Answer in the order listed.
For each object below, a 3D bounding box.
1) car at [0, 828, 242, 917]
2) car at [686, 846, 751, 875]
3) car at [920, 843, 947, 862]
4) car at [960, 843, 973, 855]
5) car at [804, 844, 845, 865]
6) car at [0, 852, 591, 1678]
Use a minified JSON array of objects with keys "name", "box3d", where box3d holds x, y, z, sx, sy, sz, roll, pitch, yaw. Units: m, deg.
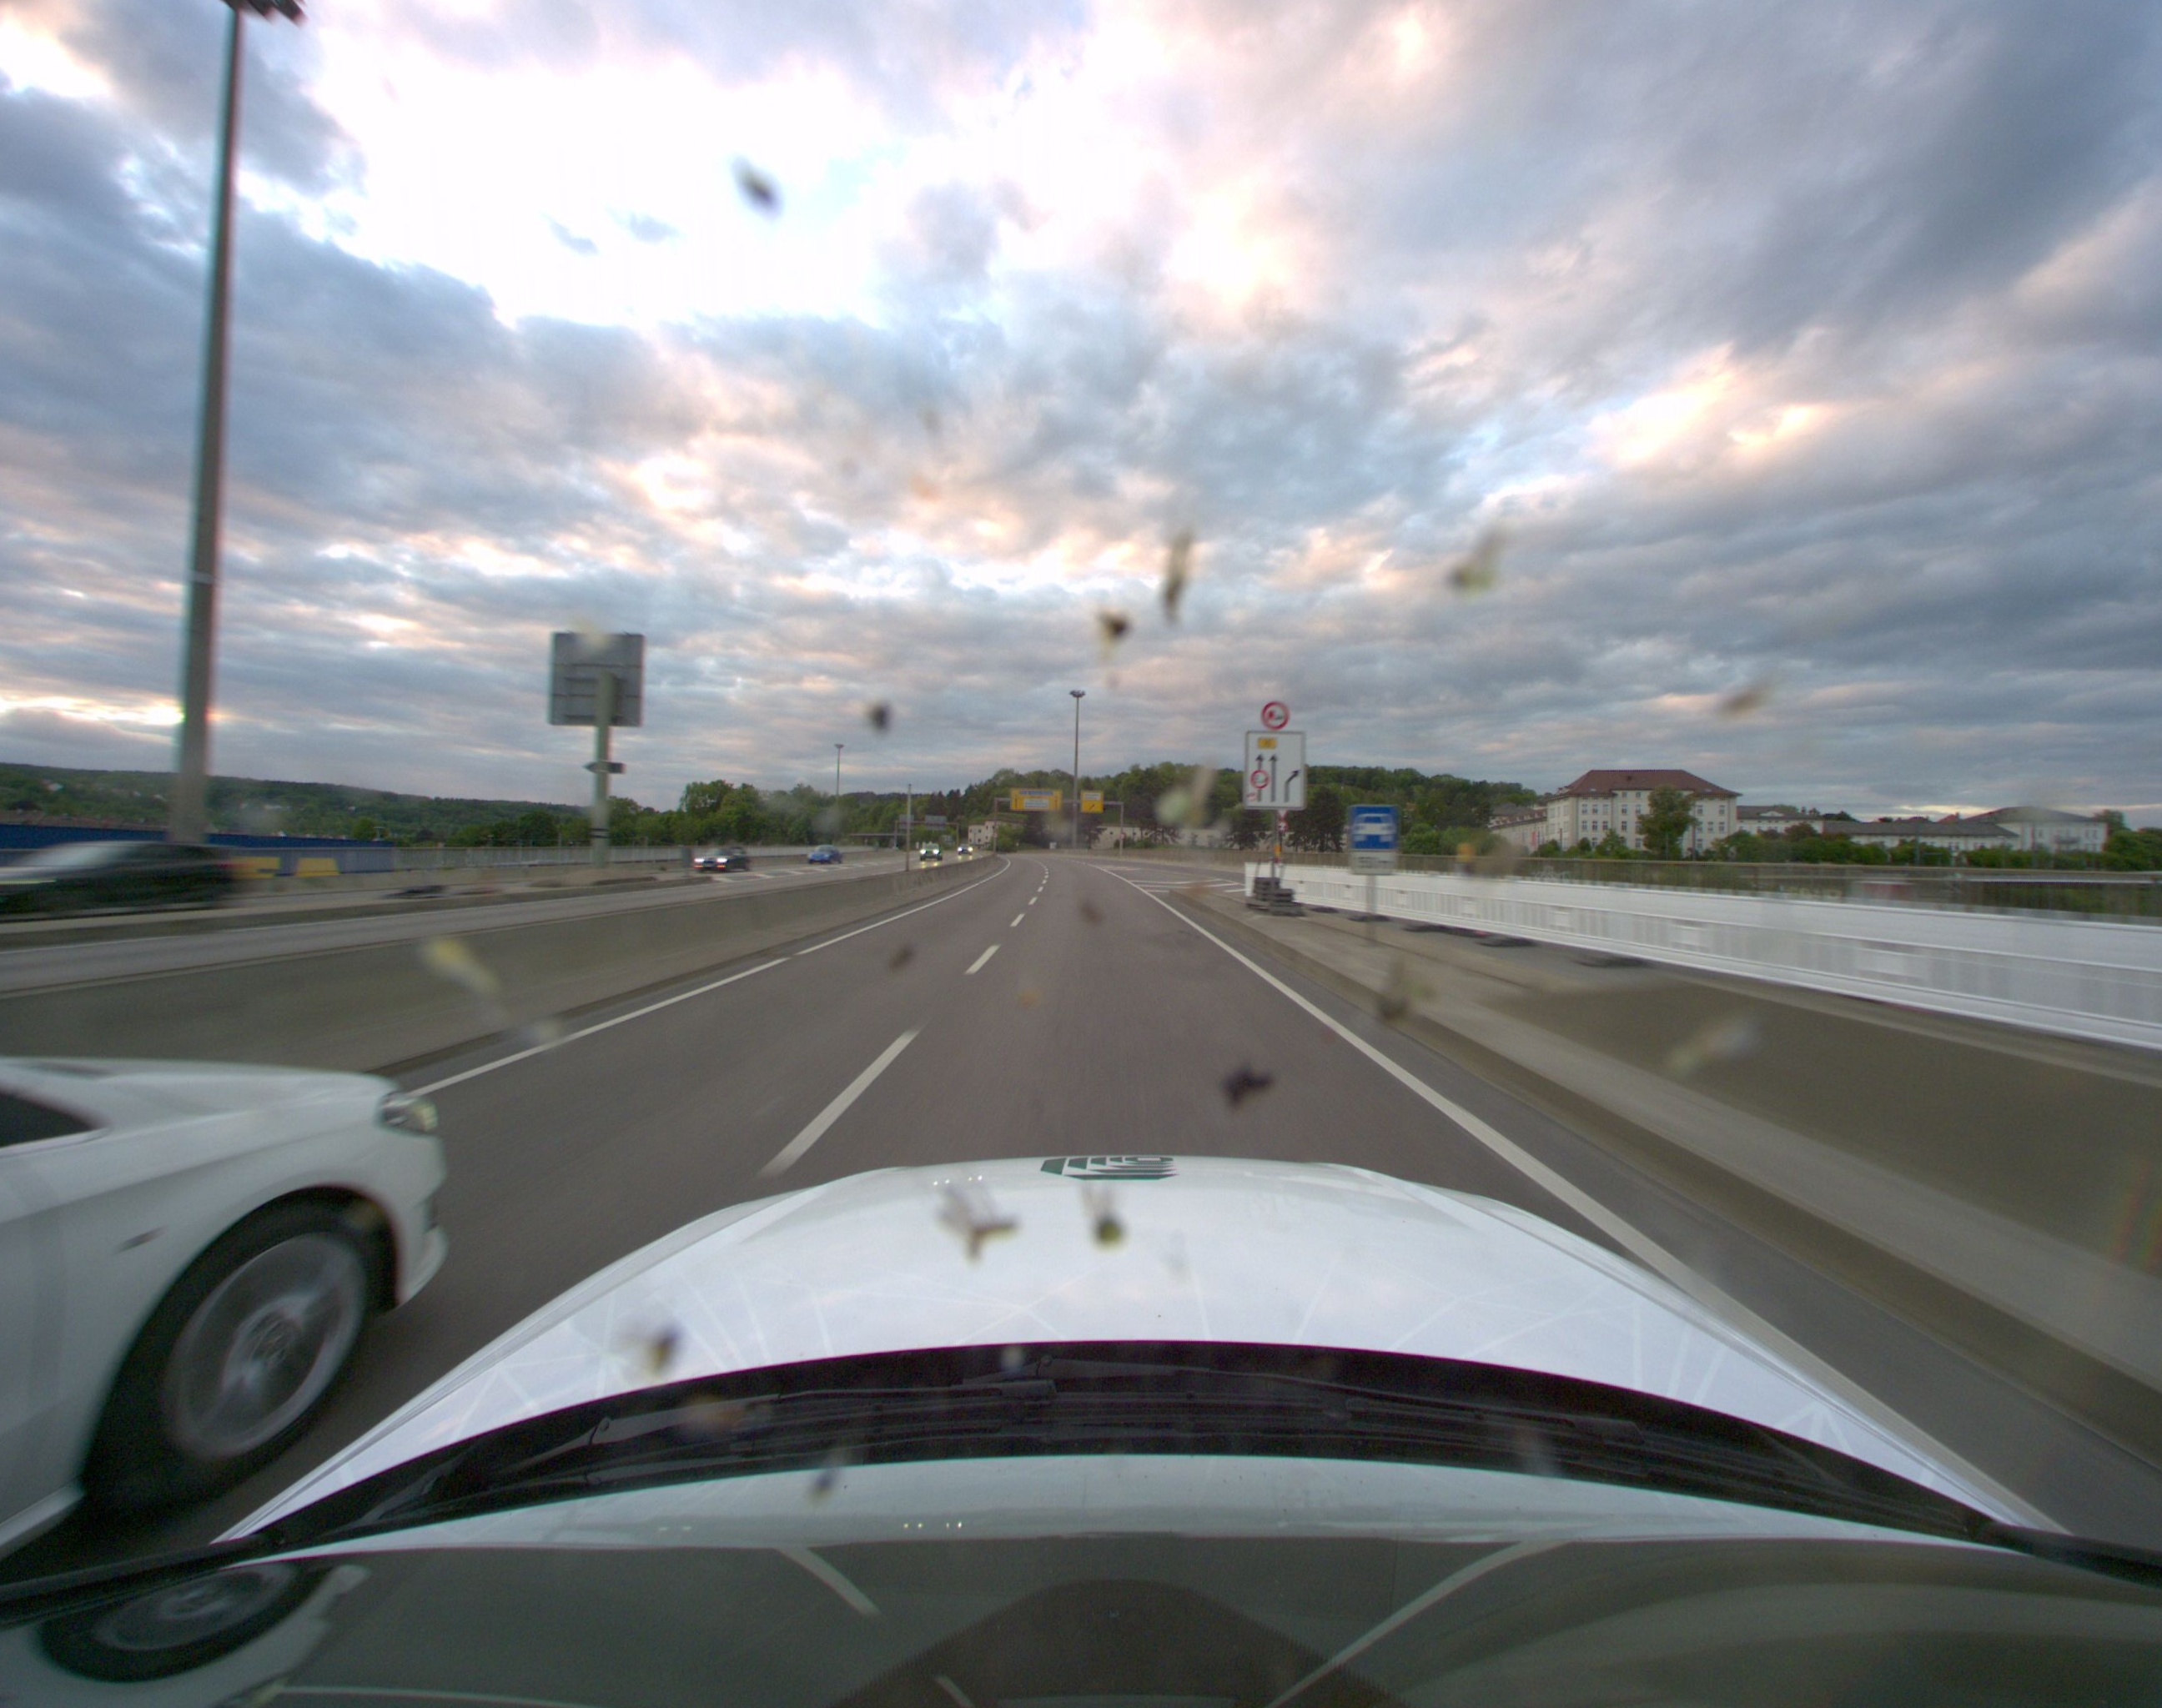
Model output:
[{"name":"car","box3d":[-21.292,0.368,17.778,1.629,1.717,4.004,-1,0,4]},{"name":"car","box3d":[-19.815,0.371,44.661,1.790,1.486,3.841,1,-1,0]},{"name":"car","box3d":[-13.470,-0.116,74.559,1.705,1.494,4.079,3,-1,0]},{"name":"car","box3d":[-16.023,-0.716,113.790,1.810,1.534,4.533,1,0,-8]},{"name":"car","box3d":[-19.935,0.025,63.525,1.891,1.596,4.162,0,1,0]},{"name":"car","box3d":[-2.872,0.775,0.911,1.685,1.537,4.784,0,0,1]}]
